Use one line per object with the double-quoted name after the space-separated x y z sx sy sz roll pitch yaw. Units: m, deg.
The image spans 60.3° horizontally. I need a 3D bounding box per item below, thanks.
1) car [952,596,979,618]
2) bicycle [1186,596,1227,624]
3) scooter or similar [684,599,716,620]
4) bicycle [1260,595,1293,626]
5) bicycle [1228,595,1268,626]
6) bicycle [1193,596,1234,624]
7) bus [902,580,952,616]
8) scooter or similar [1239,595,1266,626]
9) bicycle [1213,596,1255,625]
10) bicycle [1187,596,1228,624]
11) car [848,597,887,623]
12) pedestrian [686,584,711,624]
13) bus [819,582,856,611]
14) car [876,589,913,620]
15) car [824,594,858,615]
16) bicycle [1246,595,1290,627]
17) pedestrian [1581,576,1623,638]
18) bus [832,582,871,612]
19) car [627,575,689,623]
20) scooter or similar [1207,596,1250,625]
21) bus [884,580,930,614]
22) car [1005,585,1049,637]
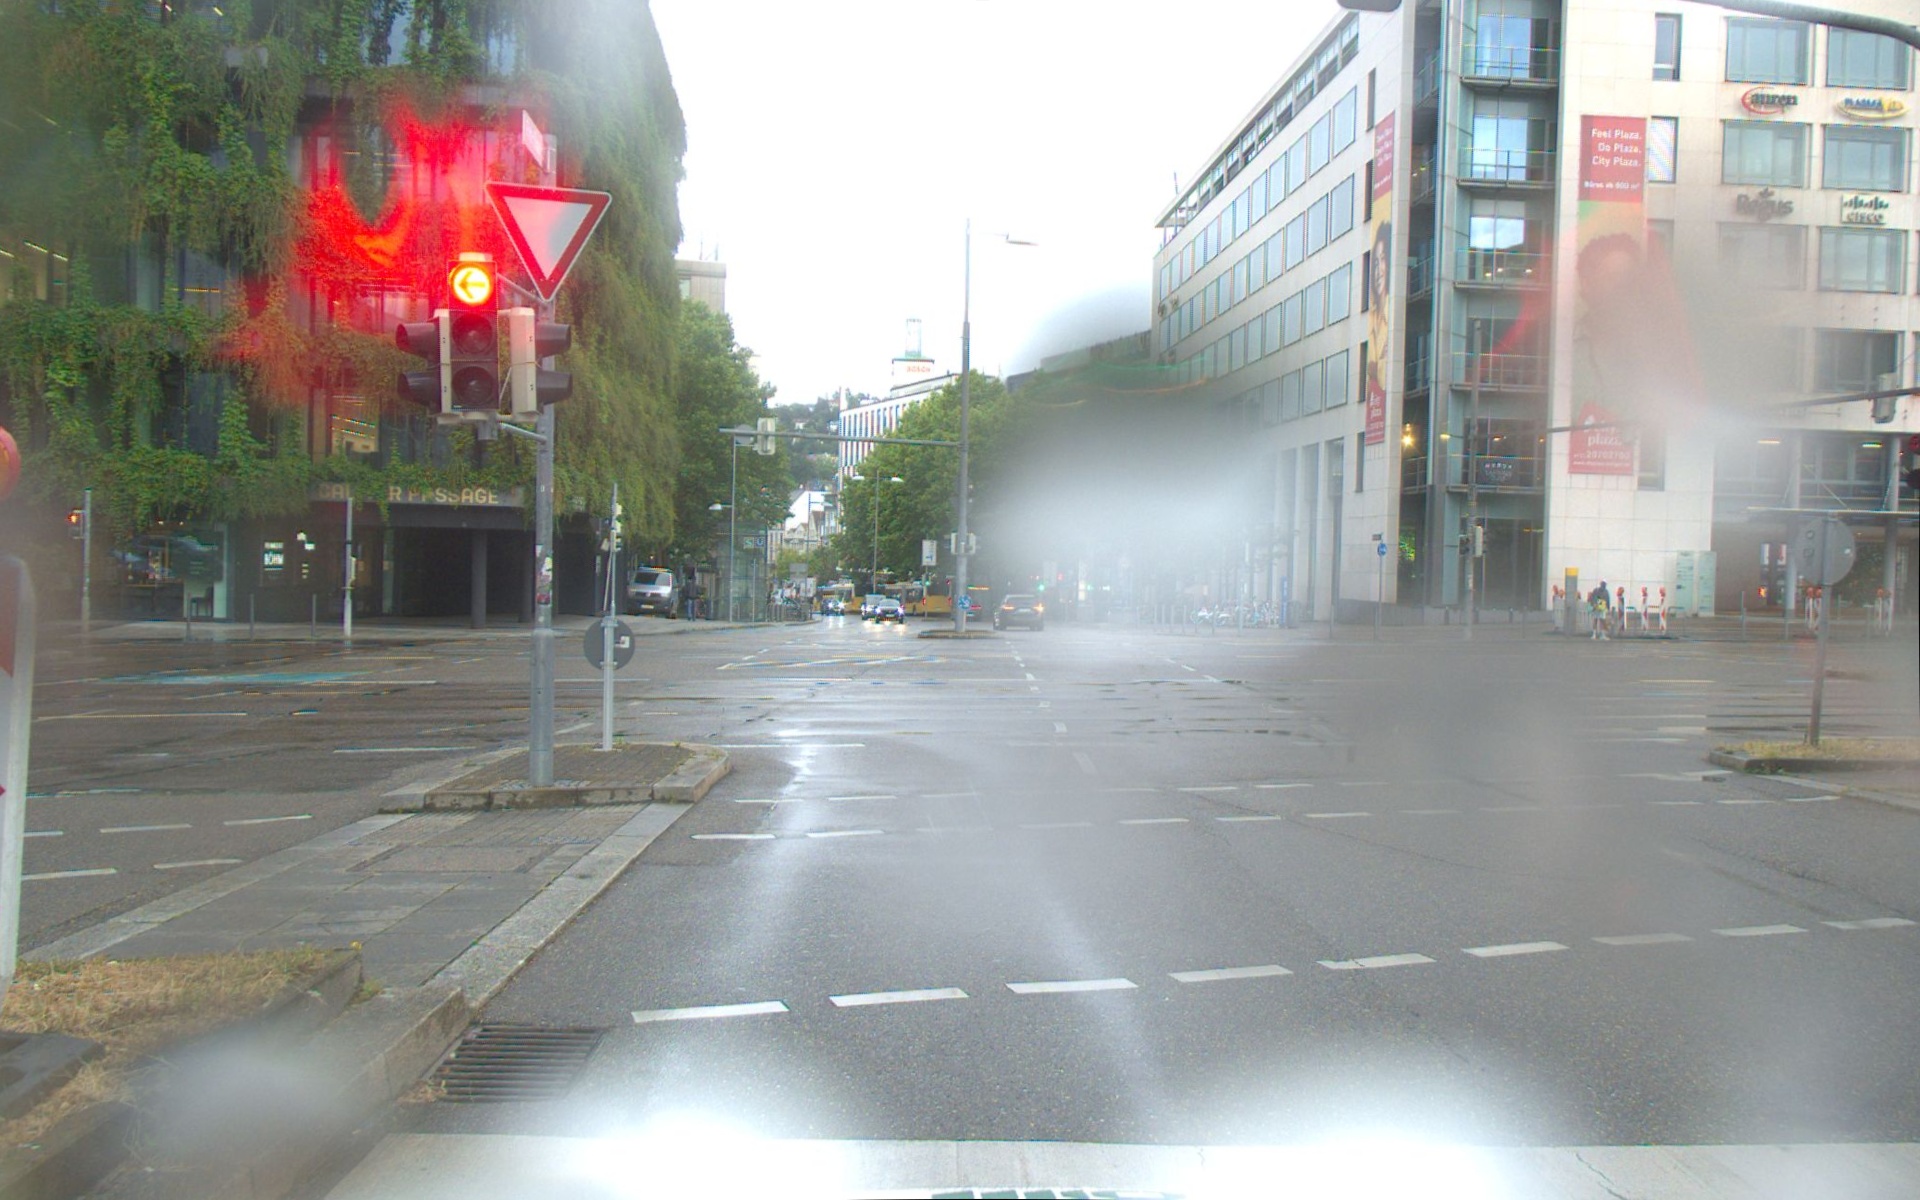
0.376 0.507 116.533 1.745 1.534 3.999 1 0 -1 "car"
10.859 0.430 72.930 1.741 1.215 0.586 1 -1 1 "bicycle"
-12.938 0.482 82.338 0.612 1.022 1.653 1 0 37 "scooter or similar"
12.856 0.440 67.139 0.575 1.215 1.776 1 -1 37 "bicycle"
11.581 0.415 66.562 0.578 1.215 1.766 1 0 -28 "bicycle"
11.418 0.446 74.490 1.741 1.215 0.586 1 -1 1 "bicycle"
-2.978 -0.212 145.896 2.585 3.048 7.417 0 0 -16 "bus"
11.382 0.402 64.323 0.946 1.215 0.453 1 -1 40 "scooter or similar"
11.888 0.443 71.777 1.741 1.215 0.586 1 -1 1 "bicycle"
11.001 0.435 73.566 1.741 1.215 0.586 1 -1 1 "bicycle"
-6.661 0.710 118.509 2.125 1.796 4.817 -1 0 -11 "car"
-11.015 0.162 69.718 0.915 1.673 0.774 1 -1 -1 "pedestrian"
-13.349 -0.420 180.128 2.585 3.048 7.417 0 0 -16 "bus"
-4.066 0.281 102.195 2.121 1.796 5.108 1 0 -4 "car"
-10.614 0.360 146.936 2.127 1.796 5.093 1 0 -14 "car"
12.118 0.418 65.018 1.590 1.215 0.586 1 -1 25 "bicycle"
19.388 0.203 49.961 0.942 1.848 0.836 1 -1 -1 "pedestrian"
-11.352 -0.296 173.061 2.585 3.048 7.296 0 0 -16 "bus"
-12.393 -0.033 68.138 1.832 1.871 3.999 1 0 -1 "car"
11.544 0.434 71.149 1.741 1.215 0.586 1 -1 1 "scooter or similar"
-4.974 -0.269 153.012 2.585 3.048 7.417 0 0 -16 "bus"
2.773 0.450 67.753 1.511 2.049 4.671 1 0 5 "car"
